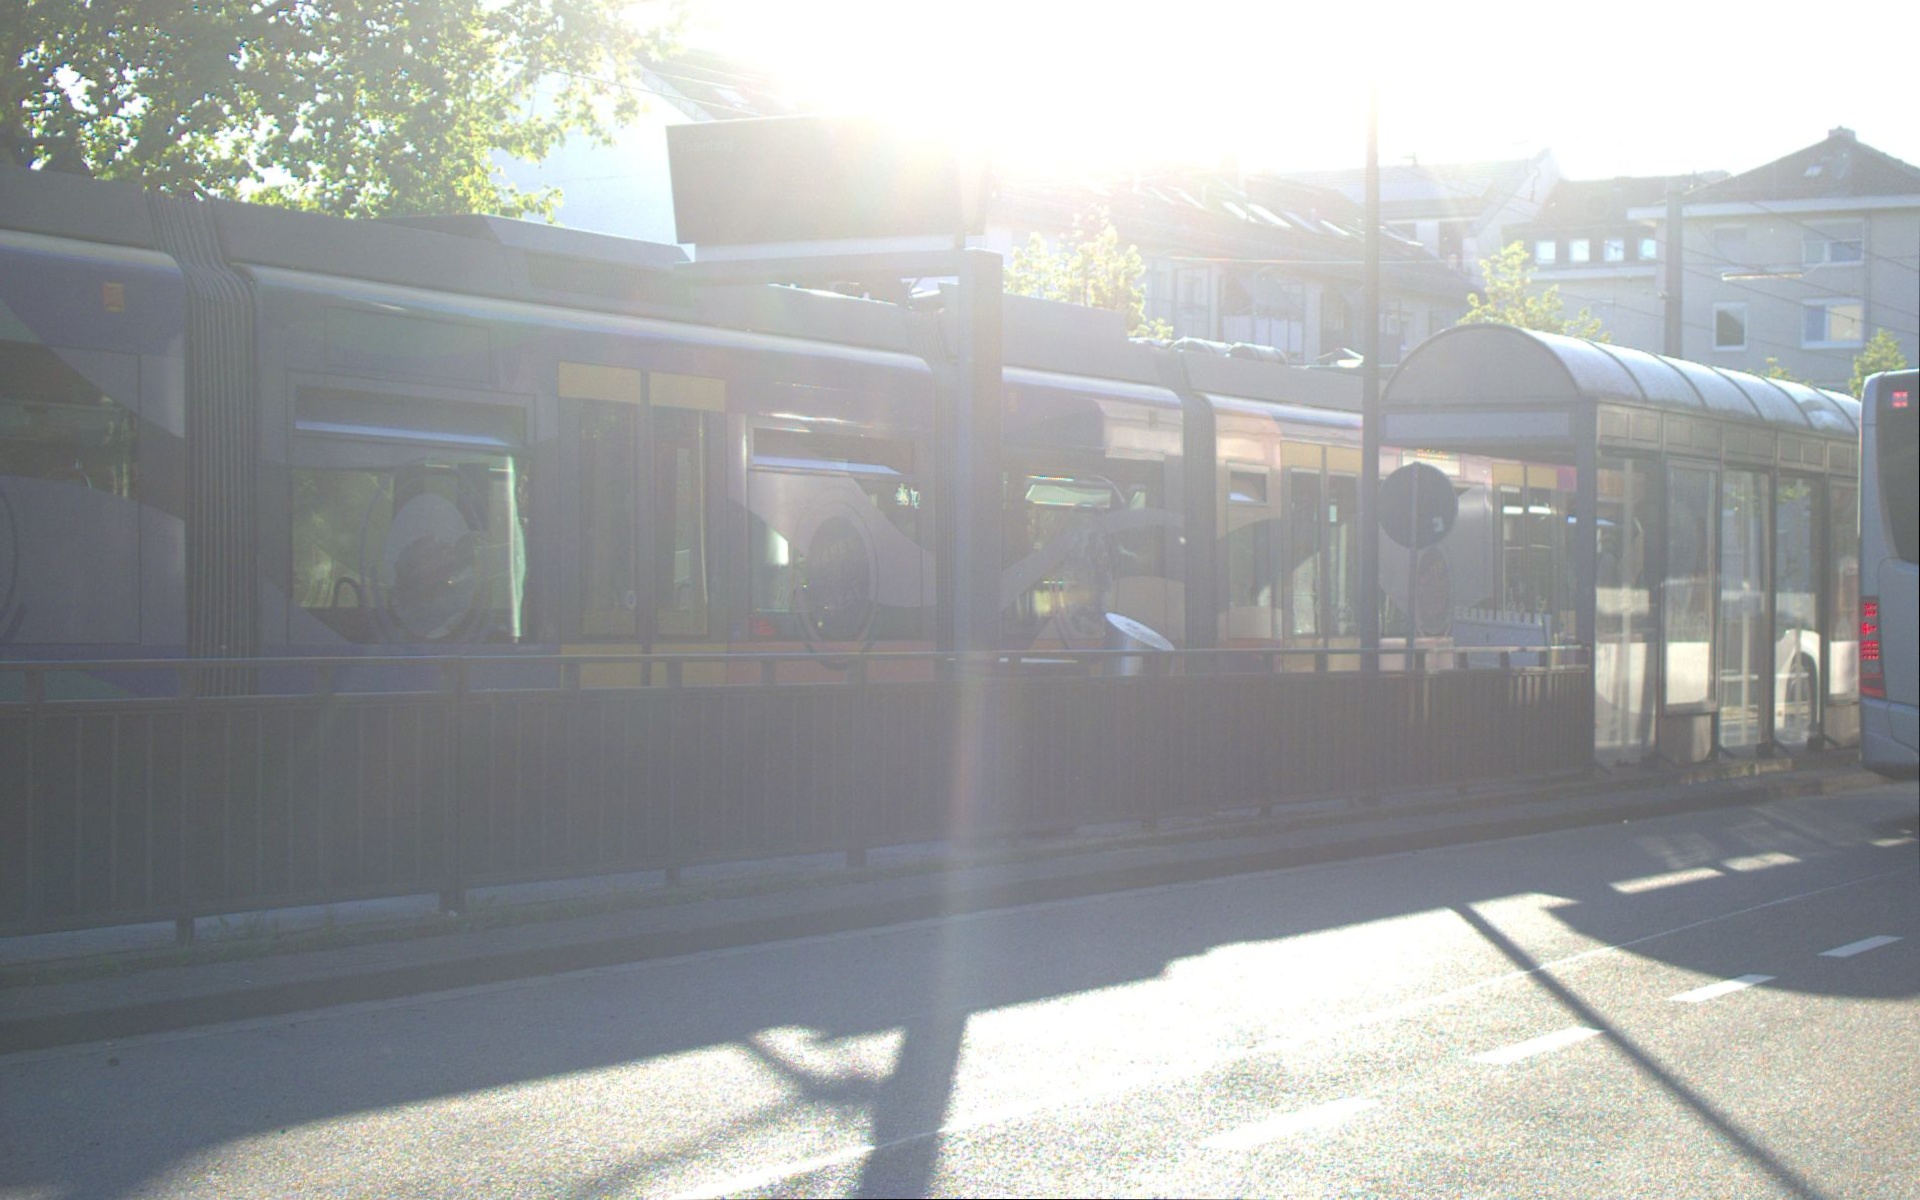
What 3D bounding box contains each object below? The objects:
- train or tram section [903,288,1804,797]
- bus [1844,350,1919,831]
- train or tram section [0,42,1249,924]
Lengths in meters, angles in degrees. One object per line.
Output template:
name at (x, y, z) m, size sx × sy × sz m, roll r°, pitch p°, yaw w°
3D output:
train or tram section at (4.111, -0.369, 30.117) m, size 2.645 × 3.507 × 13.310 m, roll 1°, pitch 0°, yaw 30°
bus at (9.499, -0.048, 26.731) m, size 2.737 × 3.128 × 10.687 m, roll 1°, pitch 0°, yaw 27°
train or tram section at (-2.434, -0.449, 18.906) m, size 2.733 × 3.537 × 12.762 m, roll 1°, pitch 0°, yaw 30°
